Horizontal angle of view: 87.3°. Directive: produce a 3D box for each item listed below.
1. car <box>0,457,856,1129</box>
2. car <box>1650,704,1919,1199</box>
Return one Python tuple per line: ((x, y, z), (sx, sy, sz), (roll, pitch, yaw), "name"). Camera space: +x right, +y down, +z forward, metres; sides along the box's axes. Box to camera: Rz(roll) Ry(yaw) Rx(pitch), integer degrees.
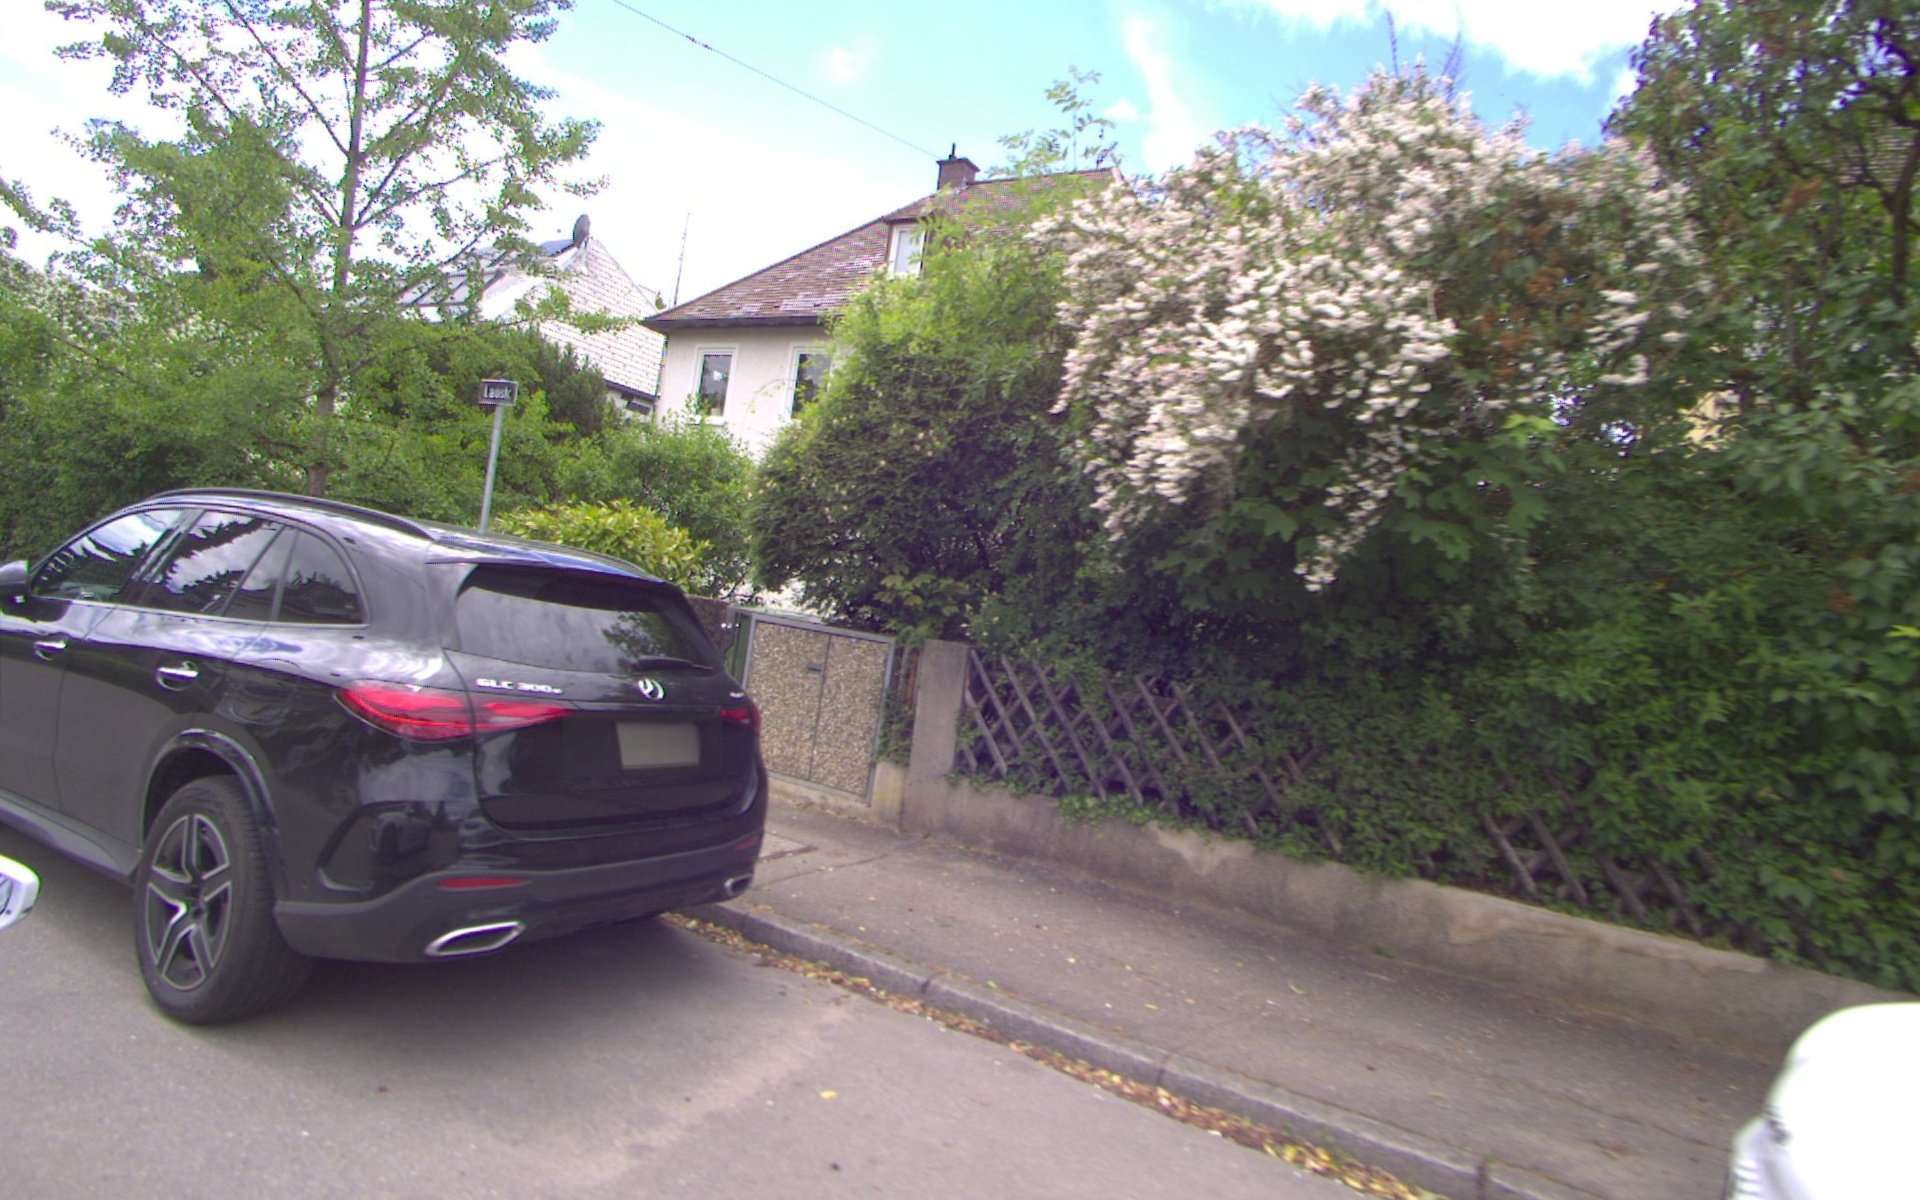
((-2.870, 0.420, 4.487), (4.302, 1.645, 1.955), (7, -2, 29), "car")
((2.682, 1.119, 1.120), (2.963, 1.528, 1.601), (8, 0, 32), "car")
